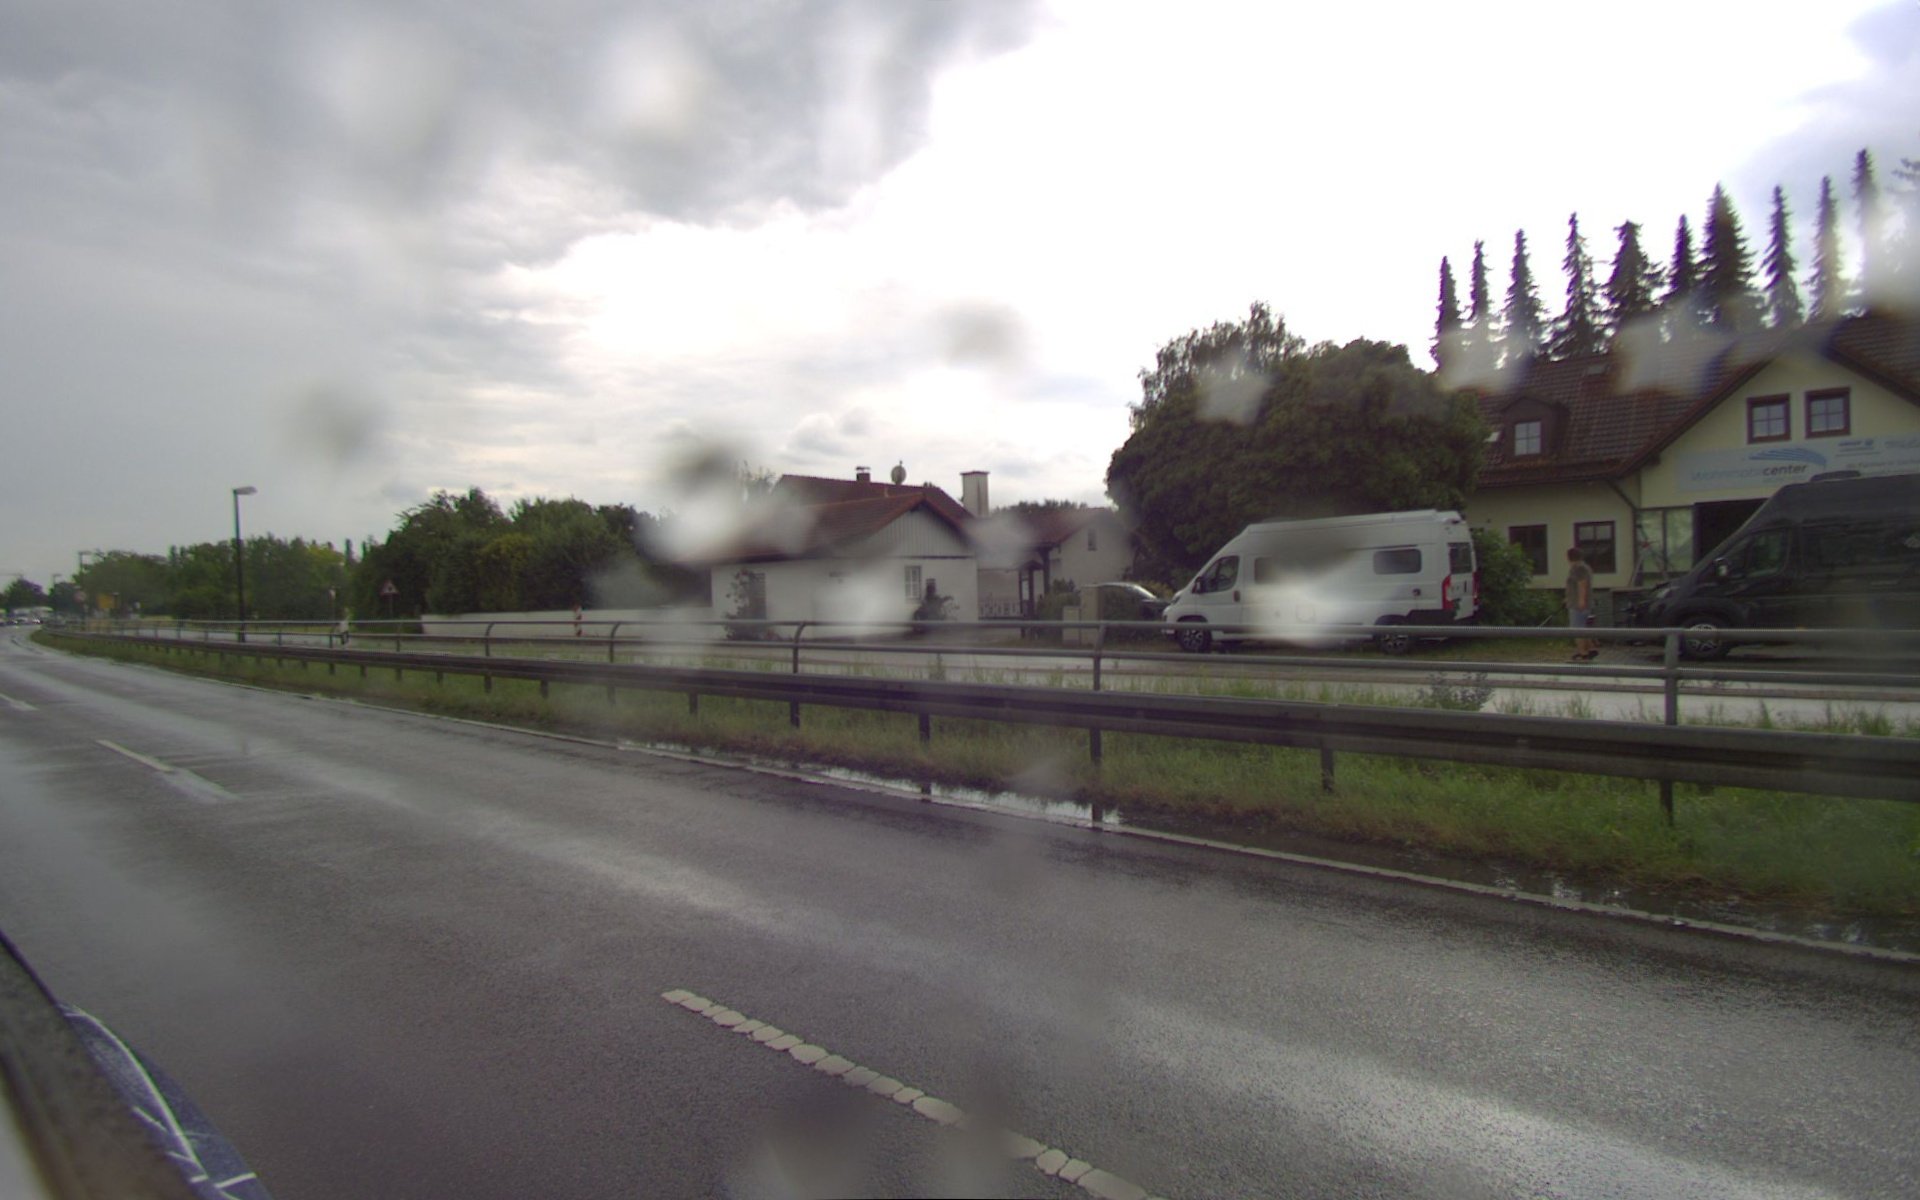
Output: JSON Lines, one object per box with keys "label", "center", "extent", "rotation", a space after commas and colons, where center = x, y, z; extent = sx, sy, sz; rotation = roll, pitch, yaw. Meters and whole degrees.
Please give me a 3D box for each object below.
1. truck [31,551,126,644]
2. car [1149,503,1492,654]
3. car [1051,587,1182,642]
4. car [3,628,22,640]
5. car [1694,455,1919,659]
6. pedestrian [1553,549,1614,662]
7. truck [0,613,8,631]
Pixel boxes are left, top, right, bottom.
{"label": "truck", "center": [-51.634, -0.123, 59.211], "extent": [7.782, 5.071, 3.214], "rotation": [-1, 1, 43]}
{"label": "car", "center": [7.022, -0.343, 20.221], "extent": [6.014, 2.600, 2.215], "rotation": [-2, 1, 40]}
{"label": "car", "center": [4.218, 0.391, 27.511], "extent": [3.269, 1.366, 1.433], "rotation": [-1, 1, 42]}
{"label": "car", "center": [-163.899, 5.883, 174.989], "extent": [4.098, 2.029, 1.973], "rotation": [-2, 1, 41]}
{"label": "car", "center": [14.105, -0.629, 14.574], "extent": [5.566, 2.783, 2.360], "rotation": [-2, 1, 39]}
{"label": "pedestrian", "center": [9.763, 0.080, 15.857], "extent": [0.509, 1.723, 0.651], "rotation": [-2, 1, -41]}
{"label": "truck", "center": [-136.286, 3.122, 142.632], "extent": [7.170, 2.494, 2.762], "rotation": [-1, 1, 44]}
